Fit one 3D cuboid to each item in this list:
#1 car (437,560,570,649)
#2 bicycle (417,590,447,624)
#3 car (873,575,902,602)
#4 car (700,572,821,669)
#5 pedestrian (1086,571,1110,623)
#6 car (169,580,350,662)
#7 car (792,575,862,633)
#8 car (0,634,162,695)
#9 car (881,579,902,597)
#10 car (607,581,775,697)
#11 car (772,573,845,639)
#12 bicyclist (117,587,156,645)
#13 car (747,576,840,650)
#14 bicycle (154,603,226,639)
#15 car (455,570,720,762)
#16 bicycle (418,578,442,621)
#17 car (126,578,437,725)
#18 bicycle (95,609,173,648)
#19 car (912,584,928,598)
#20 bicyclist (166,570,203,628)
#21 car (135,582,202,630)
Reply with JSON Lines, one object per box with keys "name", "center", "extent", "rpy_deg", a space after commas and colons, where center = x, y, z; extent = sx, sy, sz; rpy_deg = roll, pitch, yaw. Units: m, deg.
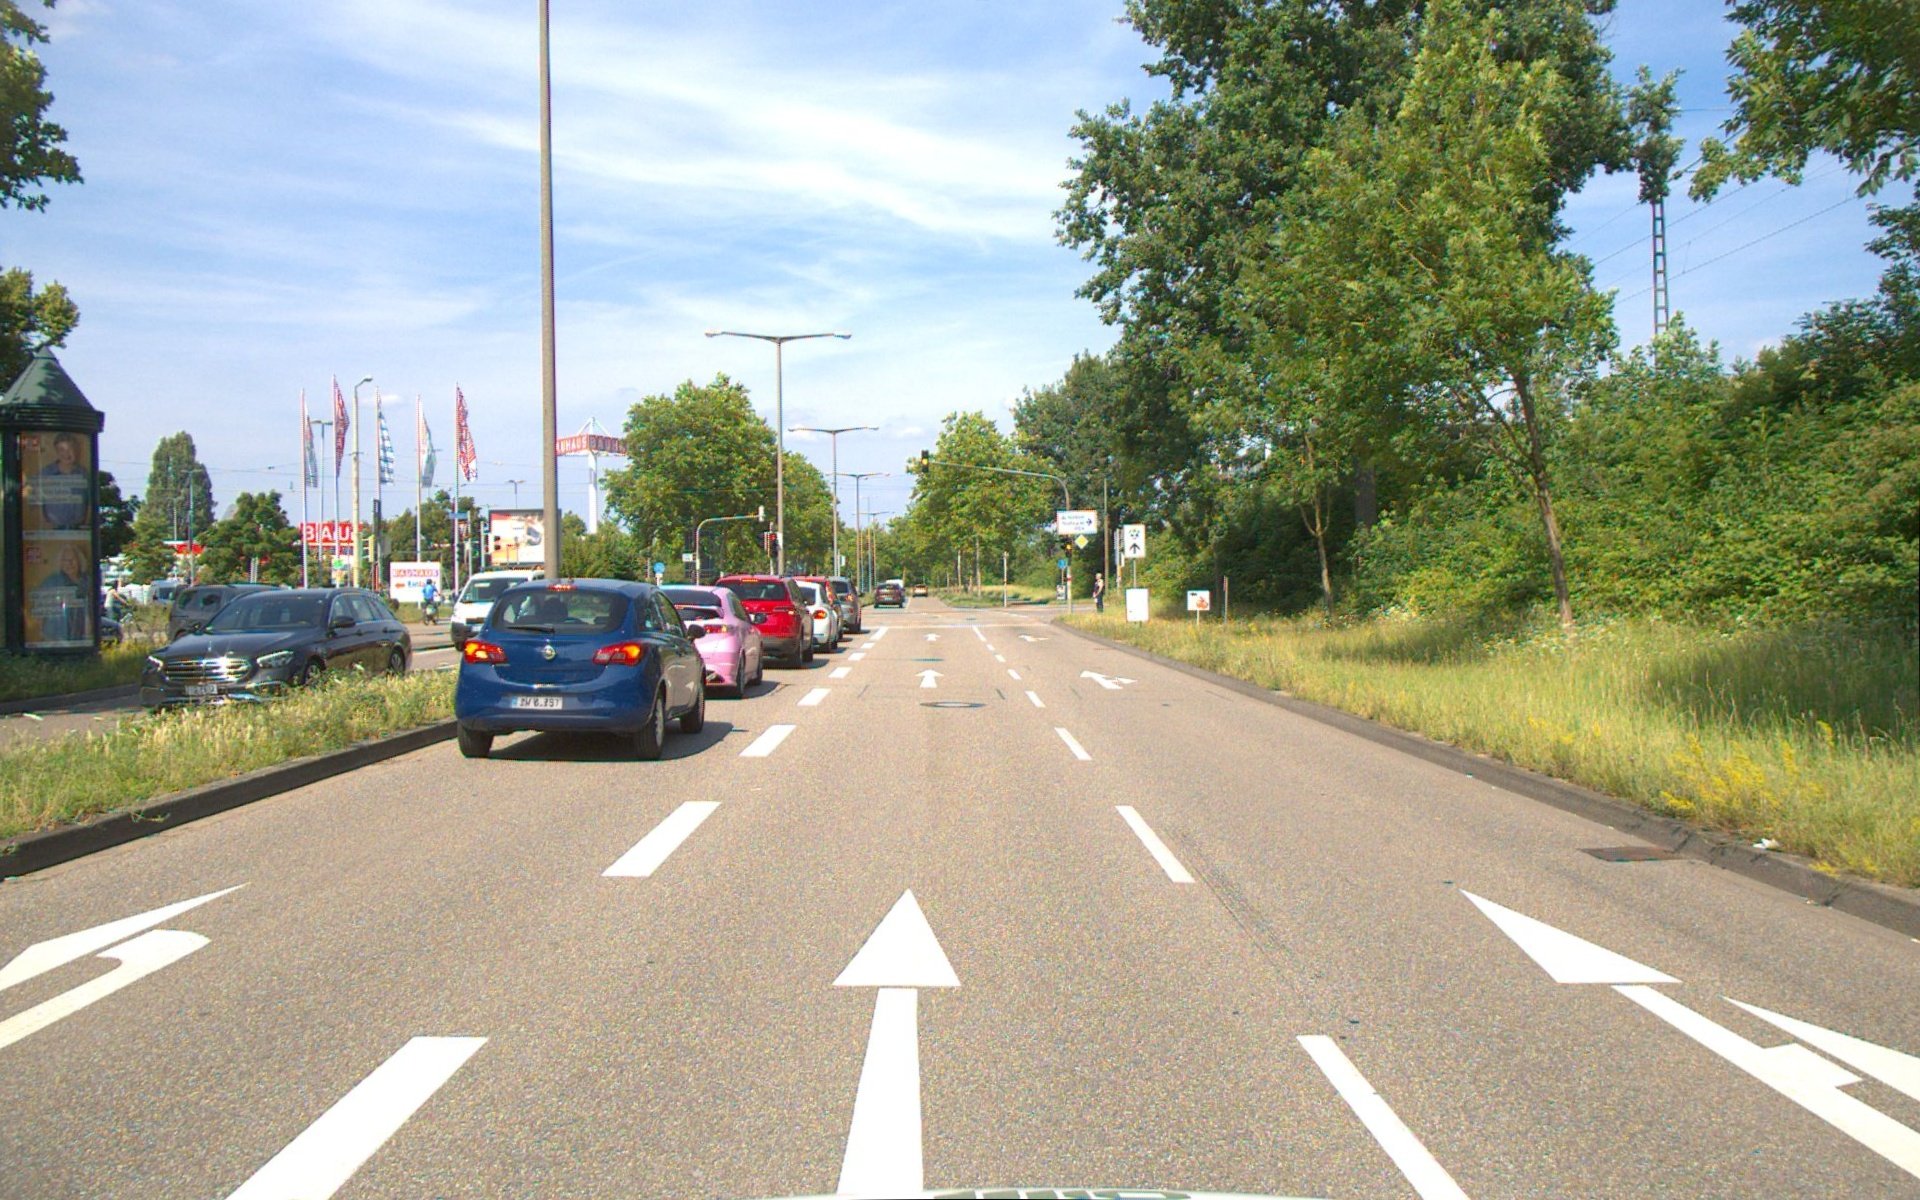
{"name": "car", "center": [-11.380, 0.065, 41.656], "extent": [1.953, 2.049, 5.212], "rpy_deg": [-1, 1, -1]}
{"name": "bicycle", "center": [-20.510, 0.275, 64.285], "extent": [0.659, 1.278, 2.244], "rpy_deg": [-1, 0, -6]}
{"name": "car", "center": [-4.688, -0.775, 107.382], "extent": [1.701, 1.562, 4.001], "rpy_deg": [0, 3, -1]}
{"name": "car", "center": [-3.542, 0.315, 30.013], "extent": [1.746, 1.620, 4.592], "rpy_deg": [0, 1, -2]}
{"name": "pedestrian", "center": [5.301, -0.114, 63.527], "extent": [0.821, 1.966, 0.771], "rpy_deg": [0, 2, -5]}
{"name": "car", "center": [-16.205, 0.491, 38.203], "extent": [4.310, 1.781, 1.863], "rpy_deg": [-1, 0, 35]}
{"name": "car", "center": [-3.938, 0.106, 49.428], "extent": [1.843, 1.646, 4.211], "rpy_deg": [0, 0, -2]}
{"name": "car", "center": [-22.573, 1.625, 42.364], "extent": [3.908, 1.412, 1.764], "rpy_deg": [-1, 2, 26]}
{"name": "car", "center": [-6.783, -1.147, 163.950], "extent": [1.953, 1.738, 4.263], "rpy_deg": [-1, 0, -1]}
{"name": "car", "center": [-3.596, 0.462, 22.804], "extent": [1.668, 1.414, 4.471], "rpy_deg": [1, 1, -2]}
{"name": "car", "center": [-3.880, 0.162, 42.768], "extent": [1.595, 1.623, 3.916], "rpy_deg": [-1, 0, -2]}
{"name": "bicyclist", "center": [-24.833, 0.480, 49.867], "extent": [0.890, 1.675, 0.778], "rpy_deg": [-2, 3, -37]}
{"name": "car", "center": [-3.593, 0.247, 36.277], "extent": [1.730, 1.505, 4.134], "rpy_deg": [1, 1, -2]}
{"name": "bicycle", "center": [-24.014, 0.640, 51.603], "extent": [1.933, 1.000, 0.779], "rpy_deg": [-2, 3, -38]}
{"name": "car", "center": [-3.261, 0.506, 15.196], "extent": [1.593, 1.509, 4.047], "rpy_deg": [1, 1, -2]}
{"name": "bicycle", "center": [-20.516, -0.021, 64.051], "extent": [0.659, 1.643, 0.991], "rpy_deg": [-1, 0, -6]}
{"name": "car", "center": [-8.196, 0.542, 20.527], "extent": [1.953, 1.557, 4.681], "rpy_deg": [-2, 0, -1]}
{"name": "bicycle", "center": [-24.880, 0.860, 49.830], "extent": [1.989, 1.057, 0.735], "rpy_deg": [-2, 3, -38]}
{"name": "car", "center": [-4.641, -1.022, 194.239], "extent": [1.830, 1.601, 3.999], "rpy_deg": [-1, 0, -1]}
{"name": "bicyclist", "center": [-24.137, -0.046, 51.487], "extent": [0.890, 1.745, 0.772], "rpy_deg": [-2, 3, -37]}
{"name": "car", "center": [-43.934, 0.337, 91.770], "extent": [1.986, 2.577, 4.563], "rpy_deg": [-2, 1, -45]}
